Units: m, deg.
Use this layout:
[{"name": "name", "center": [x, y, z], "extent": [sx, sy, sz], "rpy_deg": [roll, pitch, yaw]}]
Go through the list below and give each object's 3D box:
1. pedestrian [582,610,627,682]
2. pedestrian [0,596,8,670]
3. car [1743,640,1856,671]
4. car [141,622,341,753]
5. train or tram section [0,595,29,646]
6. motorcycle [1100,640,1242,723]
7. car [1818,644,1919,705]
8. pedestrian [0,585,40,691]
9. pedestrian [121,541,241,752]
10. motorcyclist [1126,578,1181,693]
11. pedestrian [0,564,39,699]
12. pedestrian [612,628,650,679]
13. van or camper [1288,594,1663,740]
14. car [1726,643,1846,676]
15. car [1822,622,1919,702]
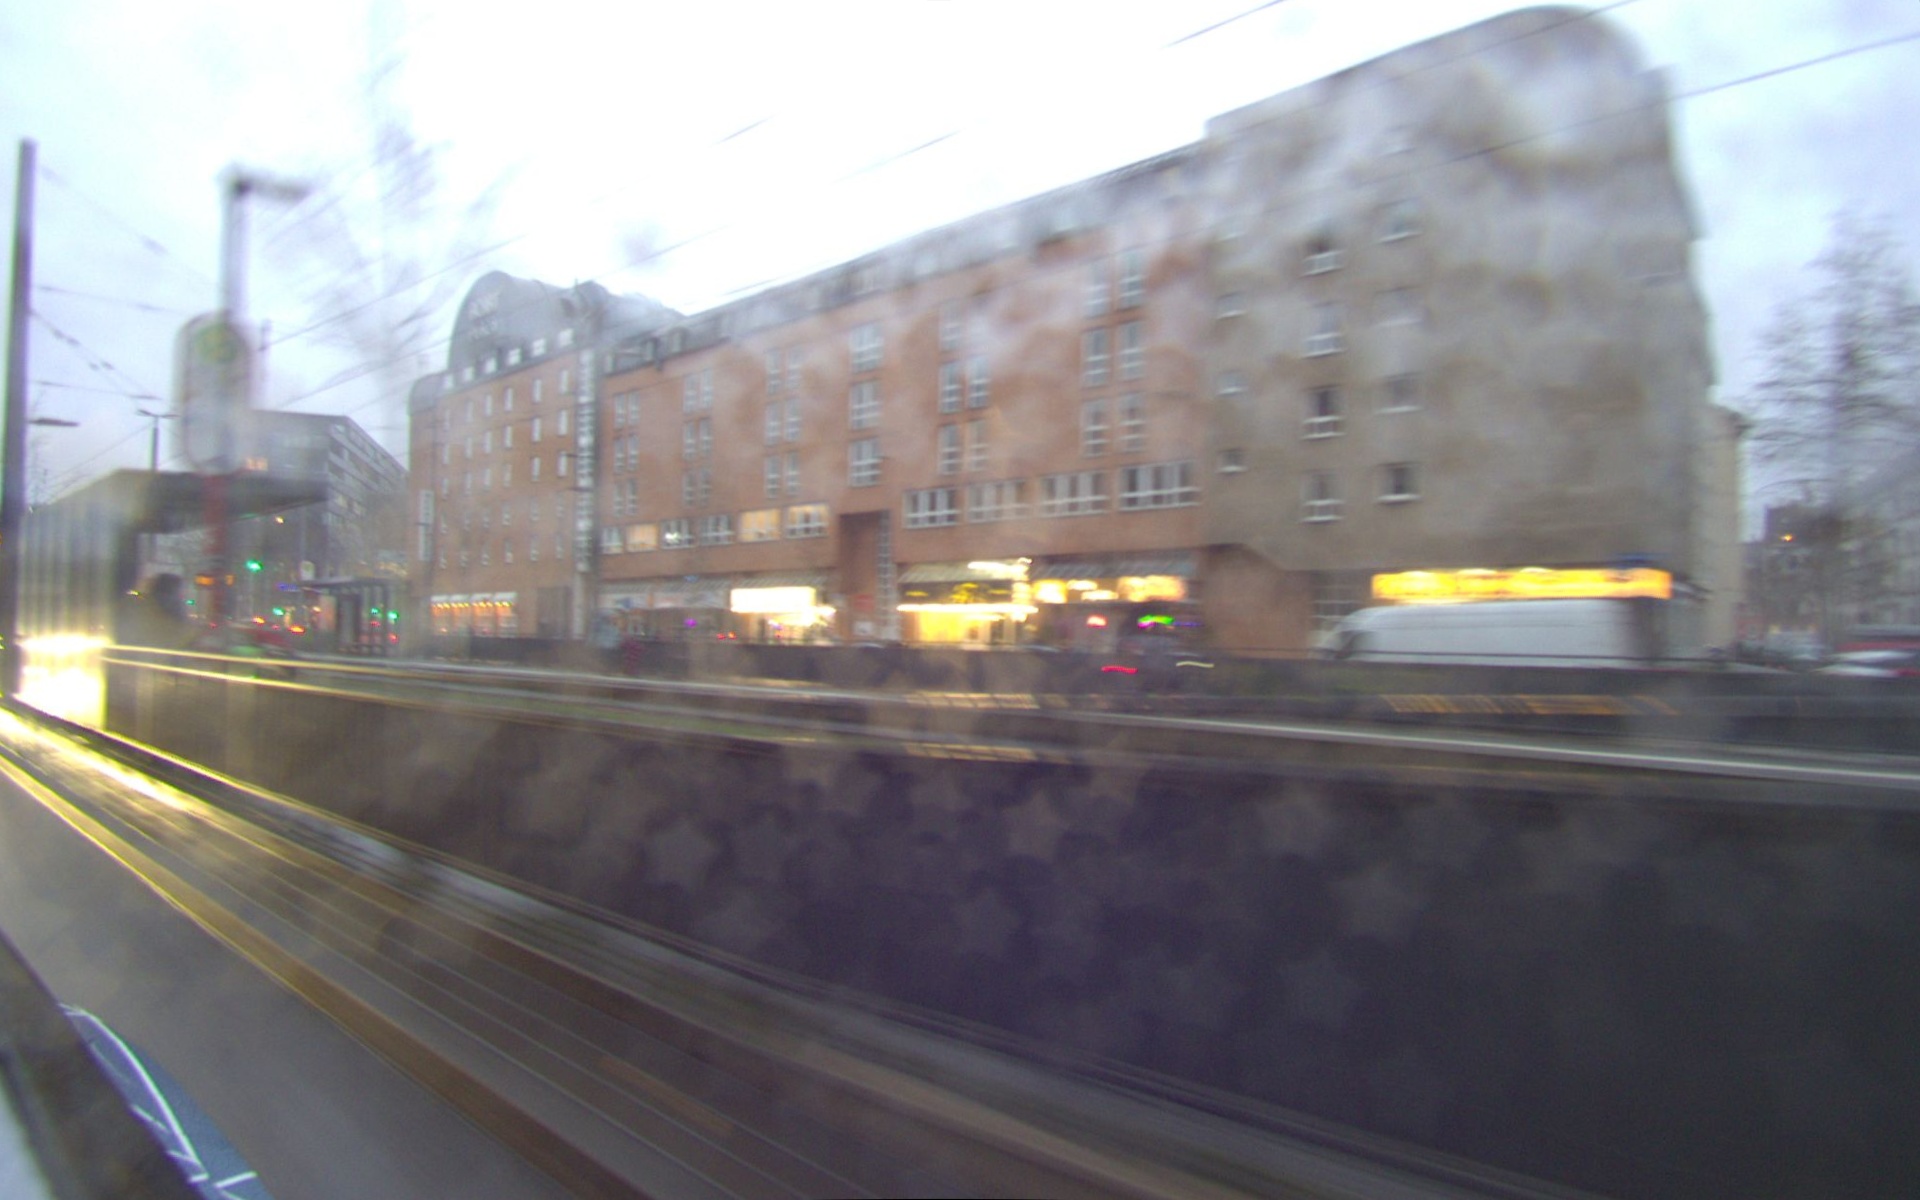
[{"name": "pedestrian", "center": [-7.819, 1.005, 22.274], "extent": [0.756, 1.536, 0.628], "rpy_deg": [-1, -1, 41]}, {"name": "pedestrian", "center": [-22.673, 0.769, 23.346], "extent": [0.768, 1.717, 0.773], "rpy_deg": [-1, -1, 23]}, {"name": "car", "center": [41.433, 2.713, 50.059], "extent": [4.134, 1.441, 1.587], "rpy_deg": [-1, -3, 35]}, {"name": "car", "center": [-9.282, 1.025, 12.988], "extent": [3.134, 1.453, 1.416], "rpy_deg": [-1, -1, 41]}, {"name": "train or tram section", "center": [-72.008, 1.525, 75.302], "extent": [11.030, 3.595, 2.869], "rpy_deg": [-1, -1, 41]}, {"name": "motorcycle", "center": [2.799, 1.056, 13.544], "extent": [1.804, 1.016, 0.508], "rpy_deg": [-1, -1, 37]}, {"name": "car", "center": [23.772, 1.806, 24.625], "extent": [4.127, 1.441, 1.590], "rpy_deg": [-1, -3, 30]}, {"name": "pedestrian", "center": [-18.112, 0.712, 19.075], "extent": [0.791, 1.962, 0.814], "rpy_deg": [0, -2, -9]}, {"name": "pedestrian", "center": [-8.274, 0.484, 10.755], "extent": [0.803, 2.126, 0.802], "rpy_deg": [-2, -2, 38]}, {"name": "motorcyclist", "center": [2.618, 0.472, 13.685], "extent": [0.555, 1.507, 0.494], "rpy_deg": [-1, -1, 36]}, {"name": "pedestrian", "center": [-15.398, 0.509, 16.231], "extent": [0.804, 2.126, 0.801], "rpy_deg": [-2, -2, 41]}, {"name": "pedestrian", "center": [-7.405, 1.185, 22.762], "extent": [0.591, 1.111, 0.600], "rpy_deg": [-1, -1, 41]}, {"name": "van or camper", "center": [10.956, 1.279, 22.093], "extent": [2.740, 2.702, 6.762], "rpy_deg": [0, -1, -42]}, {"name": "car", "center": [38.294, 2.720, 47.051], "extent": [4.134, 1.441, 1.587], "rpy_deg": [-1, -3, 35]}, {"name": "car", "center": [25.697, 1.628, 26.735], "extent": [4.127, 2.050, 1.730], "rpy_deg": [-1, -3, 30]}]
